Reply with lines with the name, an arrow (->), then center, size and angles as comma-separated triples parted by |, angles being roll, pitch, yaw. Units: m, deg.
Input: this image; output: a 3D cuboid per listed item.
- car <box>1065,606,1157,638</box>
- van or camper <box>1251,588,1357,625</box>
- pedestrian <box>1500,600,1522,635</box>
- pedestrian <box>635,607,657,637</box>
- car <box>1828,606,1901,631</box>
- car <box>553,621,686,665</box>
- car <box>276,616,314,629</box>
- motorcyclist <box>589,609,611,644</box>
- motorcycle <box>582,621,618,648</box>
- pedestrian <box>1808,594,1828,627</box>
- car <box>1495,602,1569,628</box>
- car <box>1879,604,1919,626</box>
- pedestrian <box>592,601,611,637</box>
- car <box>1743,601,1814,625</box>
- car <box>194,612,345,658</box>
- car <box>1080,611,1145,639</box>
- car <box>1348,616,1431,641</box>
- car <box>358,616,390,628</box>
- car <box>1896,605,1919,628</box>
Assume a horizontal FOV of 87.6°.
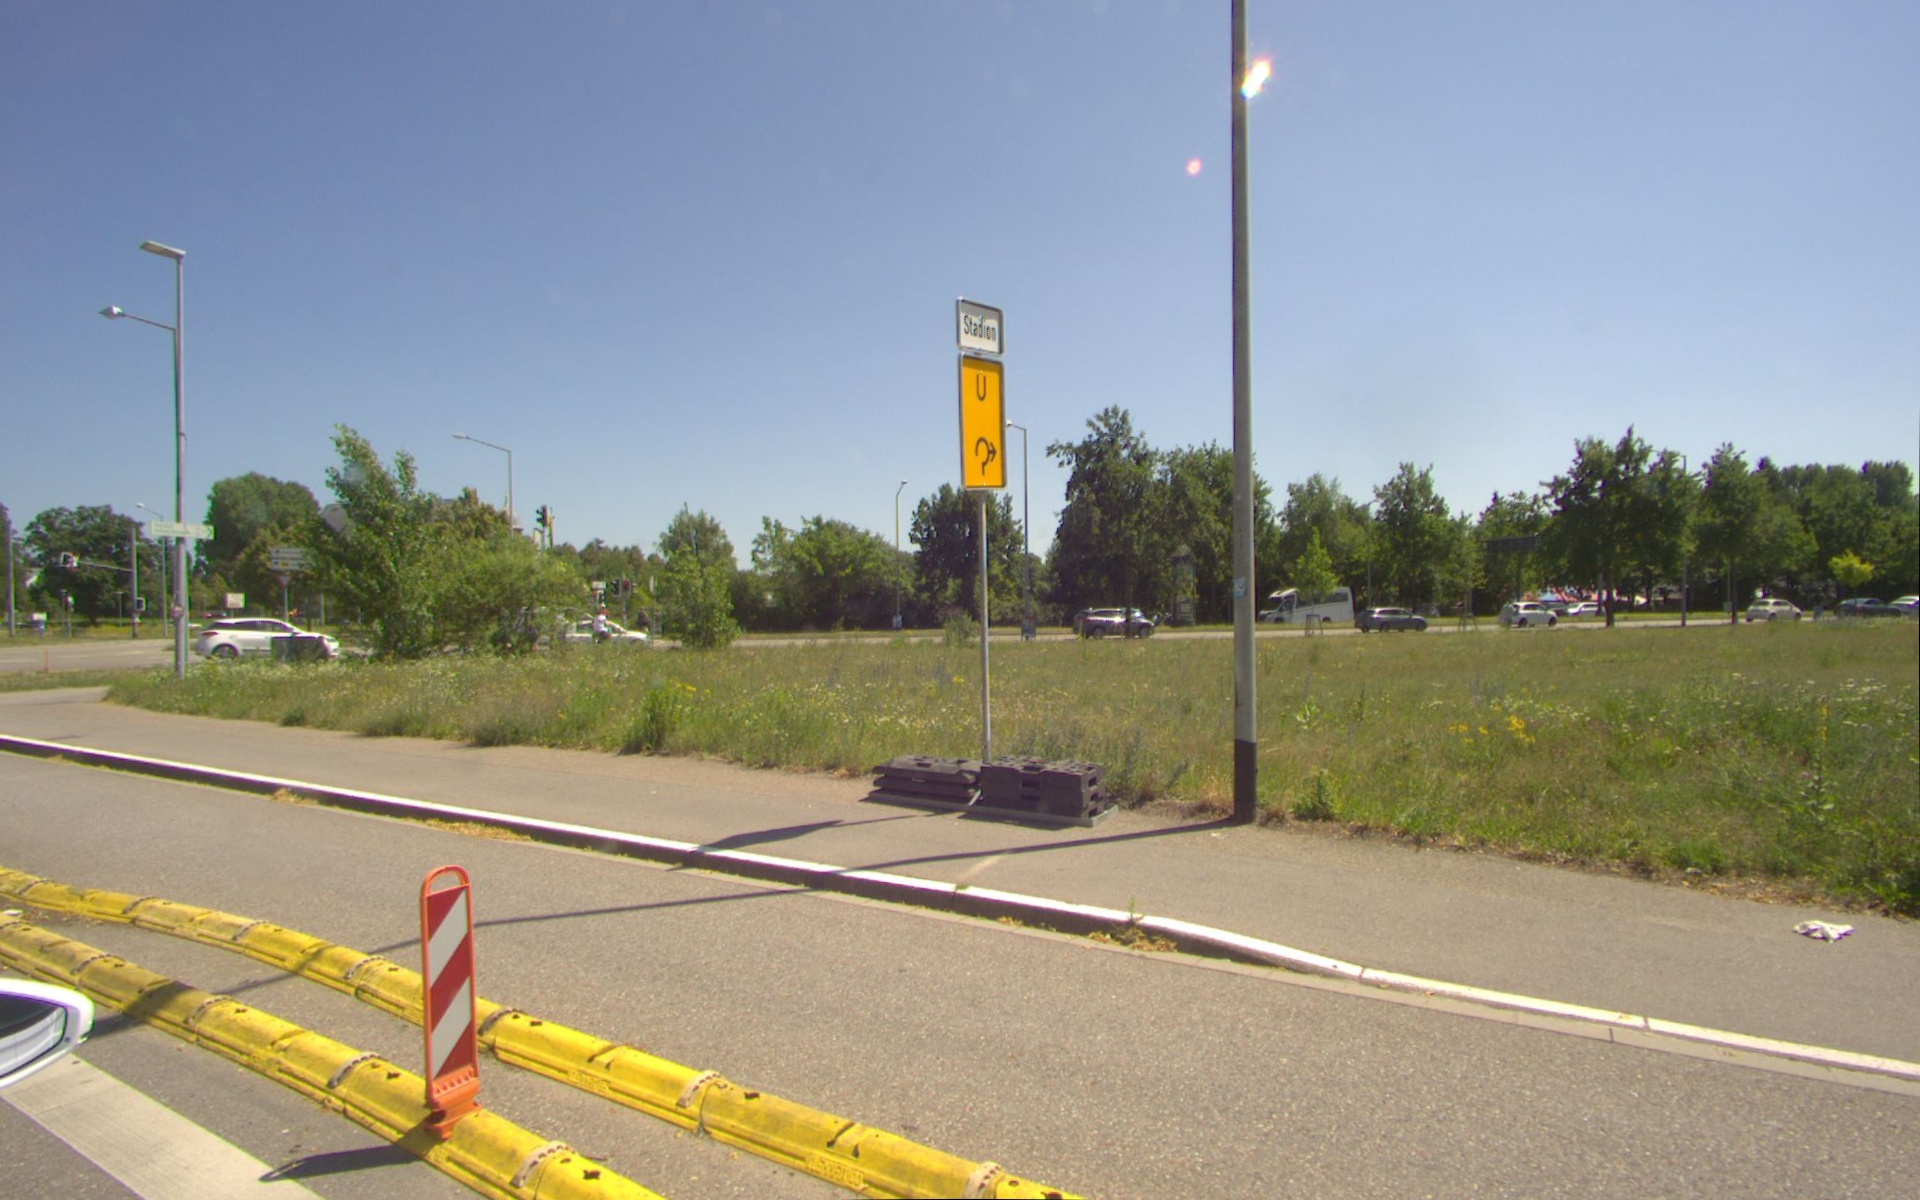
car -> 7.927, 1.136, 52.551 | 4.369, 1.616, 1.997 | 0, -1, -17
van or camper -> 25.894, 0.536, 75.345 | 7.376, 2.728, 2.510 | 0, -1, -14
pedestrian -> 24.922, 0.790, 45.279 | 0.724, 1.583, 0.497 | 0, 0, -18
pedestrian -> -16.719, 1.197, 53.381 | 0.811, 1.583, 0.790 | -1, -1, 33
car -> 62.258, 1.292, 68.960 | 4.331, 1.571, 1.738 | 1, -2, -17
car -> -14.044, 1.721, 41.449 | 4.880, 1.727, 1.985 | 1, -1, -38
car -> -90.784, 3.021, 136.731 | 1.964, 1.736, 3.996 | 0, -1, 16
motorcyclist -> -13.437, 0.988, 37.386 | 0.570, 1.306, 0.615 | 0, -1, 3
motorcycle -> -13.412, 1.279, 37.341 | 0.619, 0.982, 1.709 | 0, -1, 3
pedestrian -> 44.170, 0.544, 51.544 | 0.724, 1.712, 0.497 | 0, 0, -18
car -> 35.718, 0.965, 62.527 | 3.928, 1.572, 1.738 | 0, -1, -16
car -> 71.175, 1.111, 74.667 | 4.559, 1.572, 1.738 | 0, -1, -16
pedestrian -> -18.995, 0.995, 53.100 | 0.726, 1.894, 0.648 | 0, -1, 34
car -> 54.201, 0.880, 66.321 | 3.928, 1.572, 1.738 | 0, -1, -16
car -> -23.562, 1.166, 34.262 | 1.614, 1.463, 3.990 | -1, -1, 40
car -> 10.296, 1.667, 67.684 | 3.927, 1.861, 1.998 | 0, -1, -15
car -> 24.802, 1.628, 57.914 | 4.131, 1.409, 1.899 | 0, -1, -15
car -> -87.787, 3.332, 150.090 | 1.963, 1.736, 3.997 | 0, -1, 14
car -> 65.169, 1.092, 66.855 | 3.999, 1.524, 1.999 | 0, -1, -12
